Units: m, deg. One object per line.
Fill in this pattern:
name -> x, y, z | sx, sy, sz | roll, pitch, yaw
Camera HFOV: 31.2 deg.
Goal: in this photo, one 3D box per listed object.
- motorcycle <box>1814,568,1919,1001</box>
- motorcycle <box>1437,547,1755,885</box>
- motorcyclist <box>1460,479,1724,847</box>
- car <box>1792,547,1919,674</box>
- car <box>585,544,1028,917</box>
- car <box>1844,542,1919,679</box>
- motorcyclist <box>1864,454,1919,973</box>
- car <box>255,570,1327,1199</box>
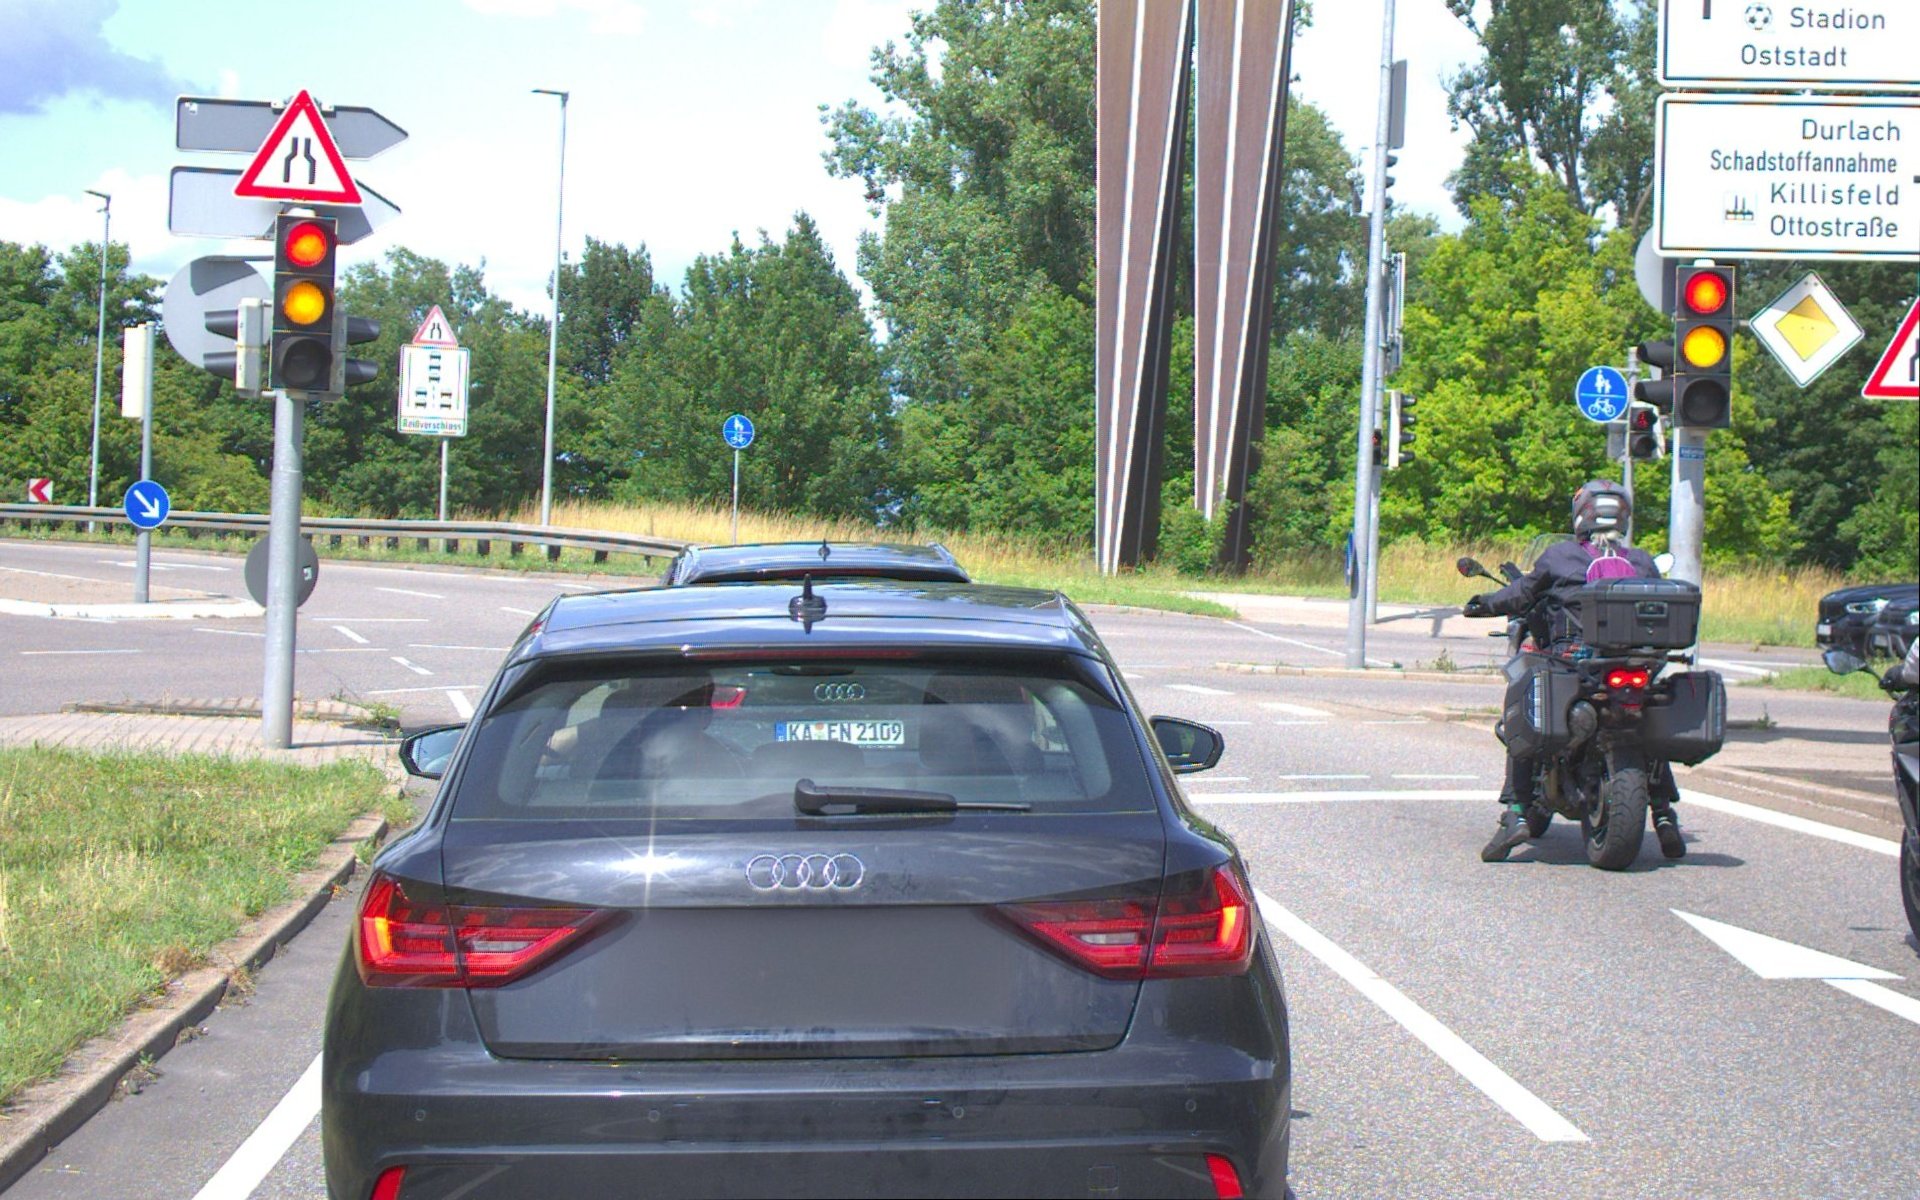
motorcycle -> 3.573, 0.621, 11.320 | 0.865, 1.384, 2.370 | 2, 1, -1
motorcycle -> 2.827, 0.468, 15.583 | 0.936, 1.378, 2.370 | 1, 1, -1
motorcyclist -> 2.834, 0.264, 15.525 | 0.936, 1.585, 1.083 | 1, 1, -1
car -> 13.258, 0.168, 43.743 | 4.847, 1.539, 1.737 | 2, 1, -1
car -> -0.750, 0.476, 15.348 | 1.726, 1.418, 3.845 | 0, 1, -5
car -> 12.649, 0.167, 39.890 | 4.268, 1.539, 1.737 | 2, 1, -1
motorcyclist -> 3.581, 0.375, 11.411 | 0.865, 1.694, 0.894 | 2, 1, -1
car -> -0.294, 0.668, 7.549 | 1.726, 1.399, 4.000 | 0, 1, -1
